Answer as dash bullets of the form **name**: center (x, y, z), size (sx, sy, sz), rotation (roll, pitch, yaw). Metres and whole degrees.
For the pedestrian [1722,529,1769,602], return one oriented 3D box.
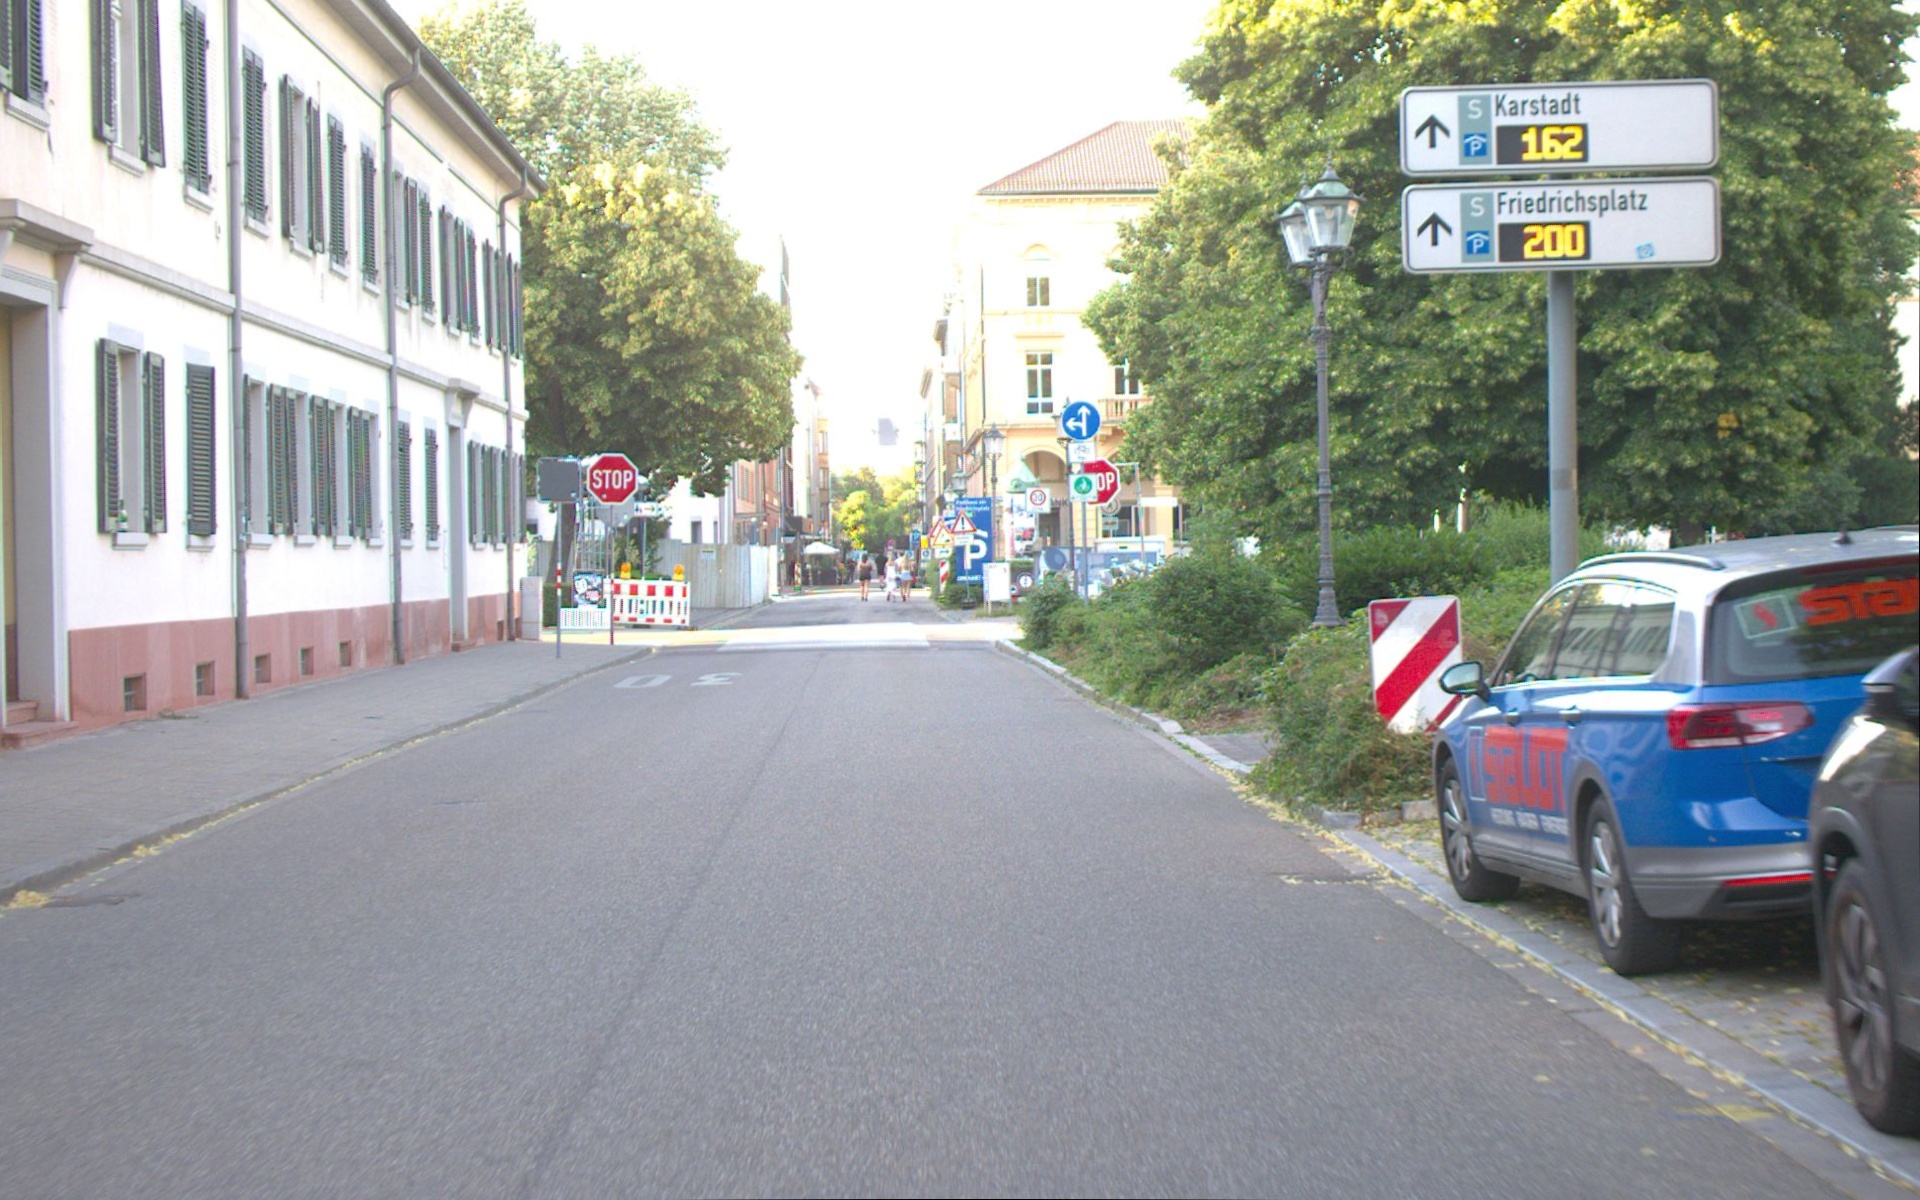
- **pedestrian**: center (14.757, -0.648, 64.595), size (0.596, 1.337, 0.818), rotation (-1, 1, -7)

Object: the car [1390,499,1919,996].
- **car**: center (2.969, 0.419, 13.269), size (1.724, 1.483, 4.611), rotation (-5, 1, -3)

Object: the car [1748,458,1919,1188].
- **car**: center (2.988, 0.486, 7.102), size (1.724, 1.646, 4.713), rotation (-2, 0, 2)

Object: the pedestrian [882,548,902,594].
- **pedestrian**: center (-2.439, -1.029, 122.914), size (0.657, 1.611, 0.745), rotation (-1, 1, -1)
